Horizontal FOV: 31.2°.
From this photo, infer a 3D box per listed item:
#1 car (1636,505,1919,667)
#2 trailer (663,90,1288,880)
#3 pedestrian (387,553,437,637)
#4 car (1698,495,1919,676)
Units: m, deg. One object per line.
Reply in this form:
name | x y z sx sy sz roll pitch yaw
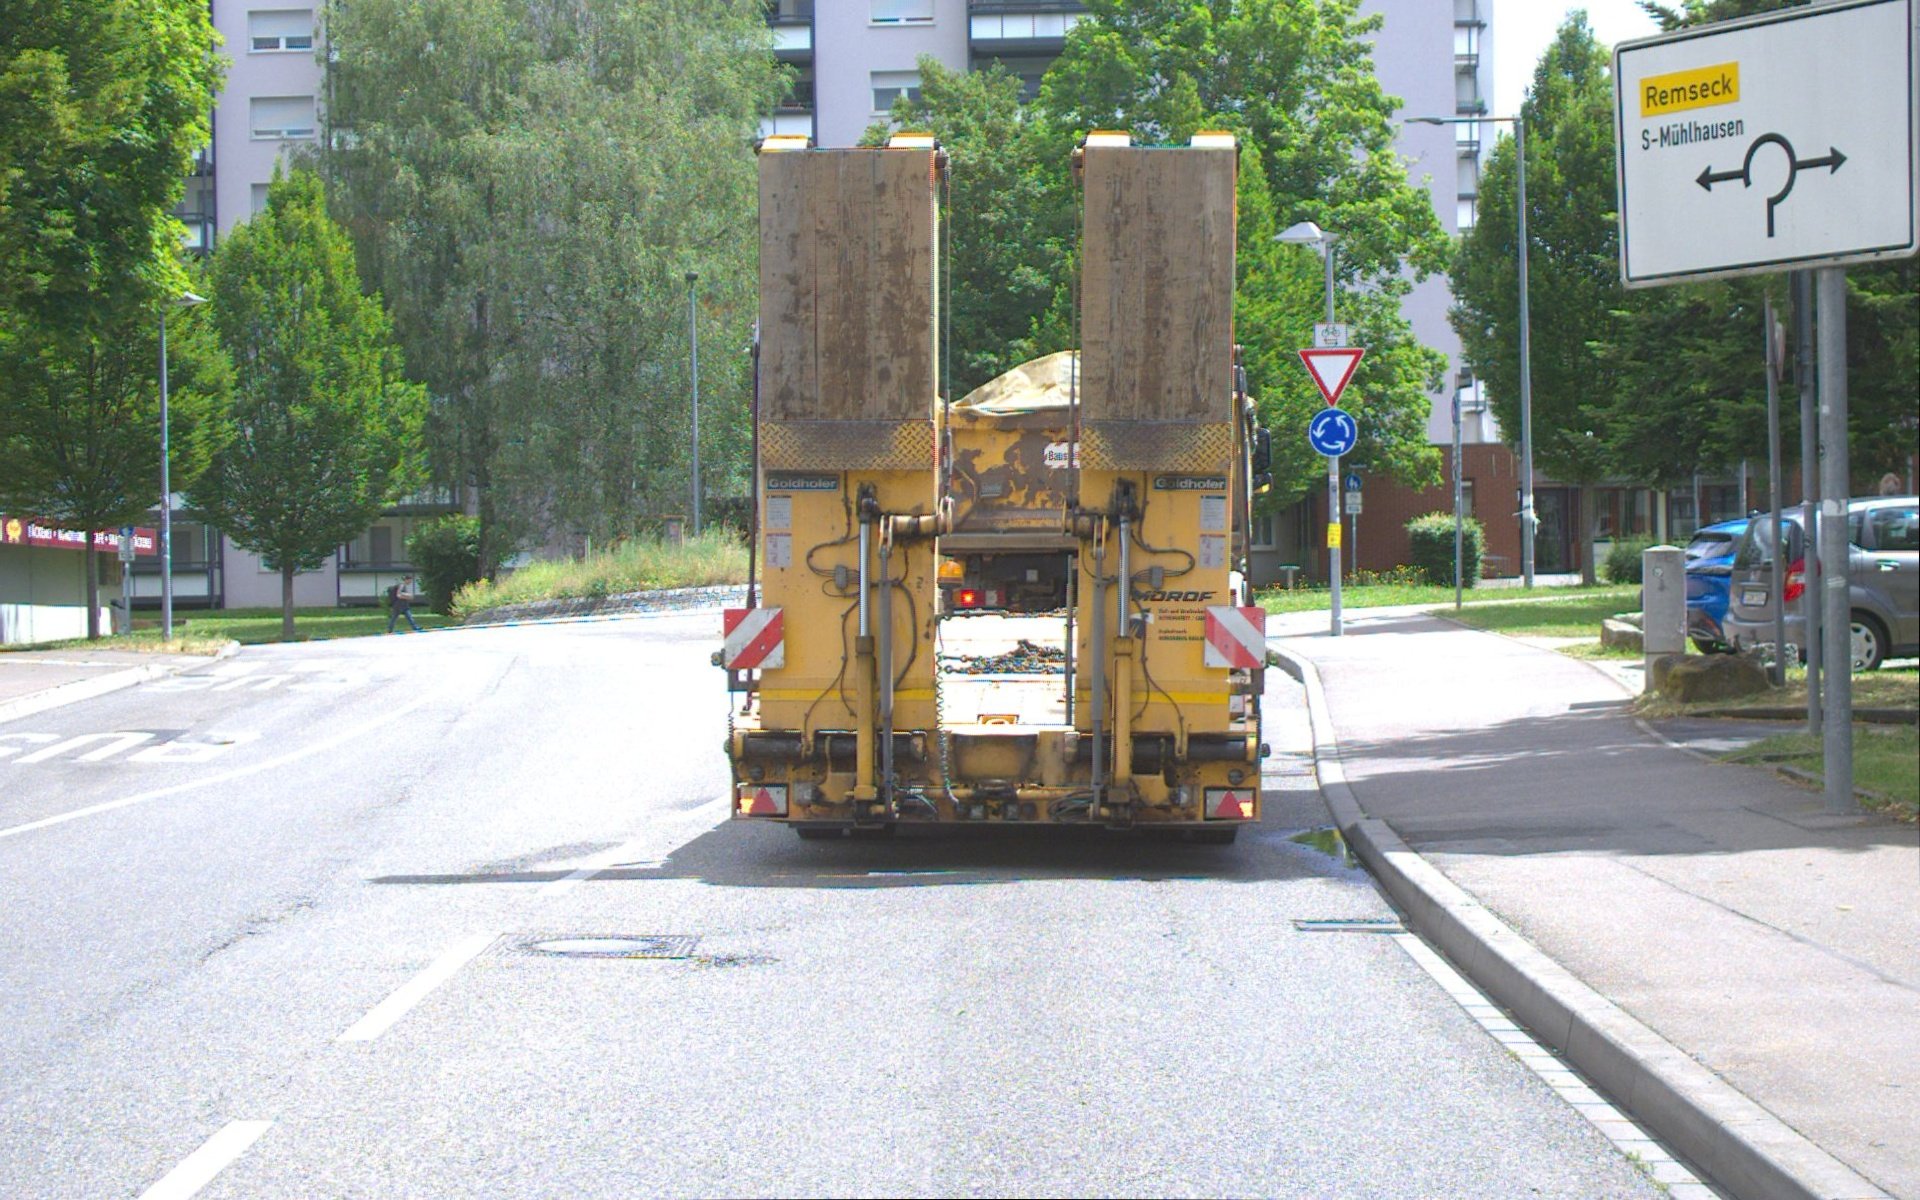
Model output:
car | 8.964 -0.142 34.236 3.986 1.556 1.760 0 1 -12
trailer | 0.641 -0.642 22.119 2.828 3.633 12.351 1 1 6
pedestrian | -13.354 -0.127 83.794 0.907 2.007 0.962 0 1 -31
car | 8.845 -0.133 30.797 3.986 1.556 1.760 0 1 -12
